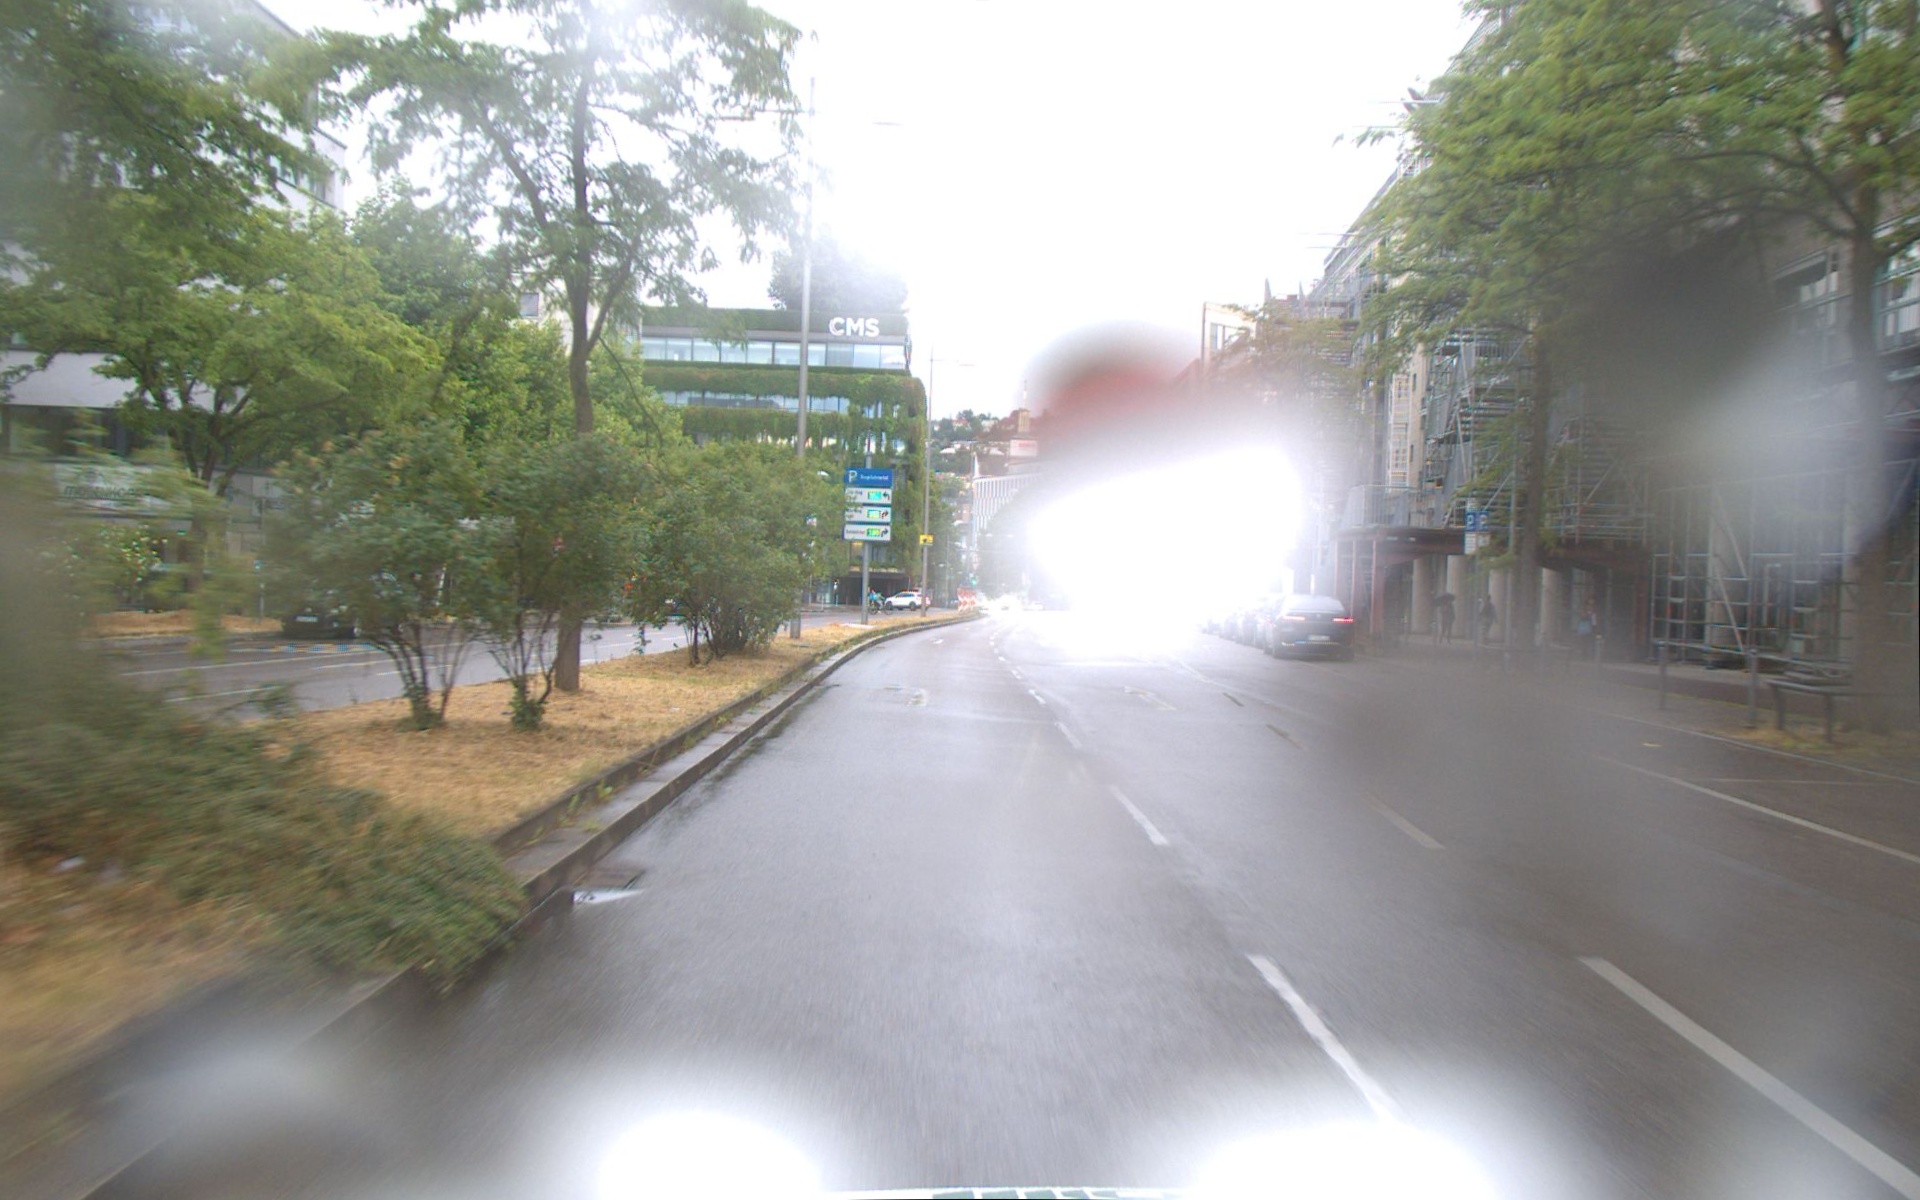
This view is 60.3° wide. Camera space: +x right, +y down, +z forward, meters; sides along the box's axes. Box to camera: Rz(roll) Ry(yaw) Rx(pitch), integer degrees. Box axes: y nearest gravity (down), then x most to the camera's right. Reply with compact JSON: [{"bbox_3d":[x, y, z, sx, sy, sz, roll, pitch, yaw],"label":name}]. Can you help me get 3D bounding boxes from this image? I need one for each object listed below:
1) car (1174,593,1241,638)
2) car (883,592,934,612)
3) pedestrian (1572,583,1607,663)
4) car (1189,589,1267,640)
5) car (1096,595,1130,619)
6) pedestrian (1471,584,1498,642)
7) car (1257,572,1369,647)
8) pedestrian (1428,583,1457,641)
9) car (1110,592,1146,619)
[{"bbox_3d":[8.802,0.536,59.111,1.806,1.518,4.000,1,0,0],"label":"car"},{"bbox_3d":[-4.505,0.172,145.341,4.208,1.668,1.830,0,1,31],"label":"car"},{"bbox_3d":[15.584,0.564,40.966,0.759,1.954,0.703,0,-1,16],"label":"pedestrian"},{"bbox_3d":[8.448,0.430,52.414,1.806,1.518,4.000,1,0,0],"label":"car"},{"bbox_3d":[11.494,0.553,124.101,1.951,1.766,4.003,0,-1,14],"label":"car"},{"bbox_3d":[17.718,0.443,55.901,0.759,1.954,0.703,1,-1,9],"label":"pedestrian"},{"bbox_3d":[8.594,0.220,40.619,2.288,1.721,4.003,1,0,6],"label":"car"},{"bbox_3d":[16.569,0.415,56.820,0.759,1.954,0.702,1,-1,-1],"label":"pedestrian"},{"bbox_3d":[11.467,0.376,112.956,1.953,1.754,3.998,1,-1,-1],"label":"car"}]
